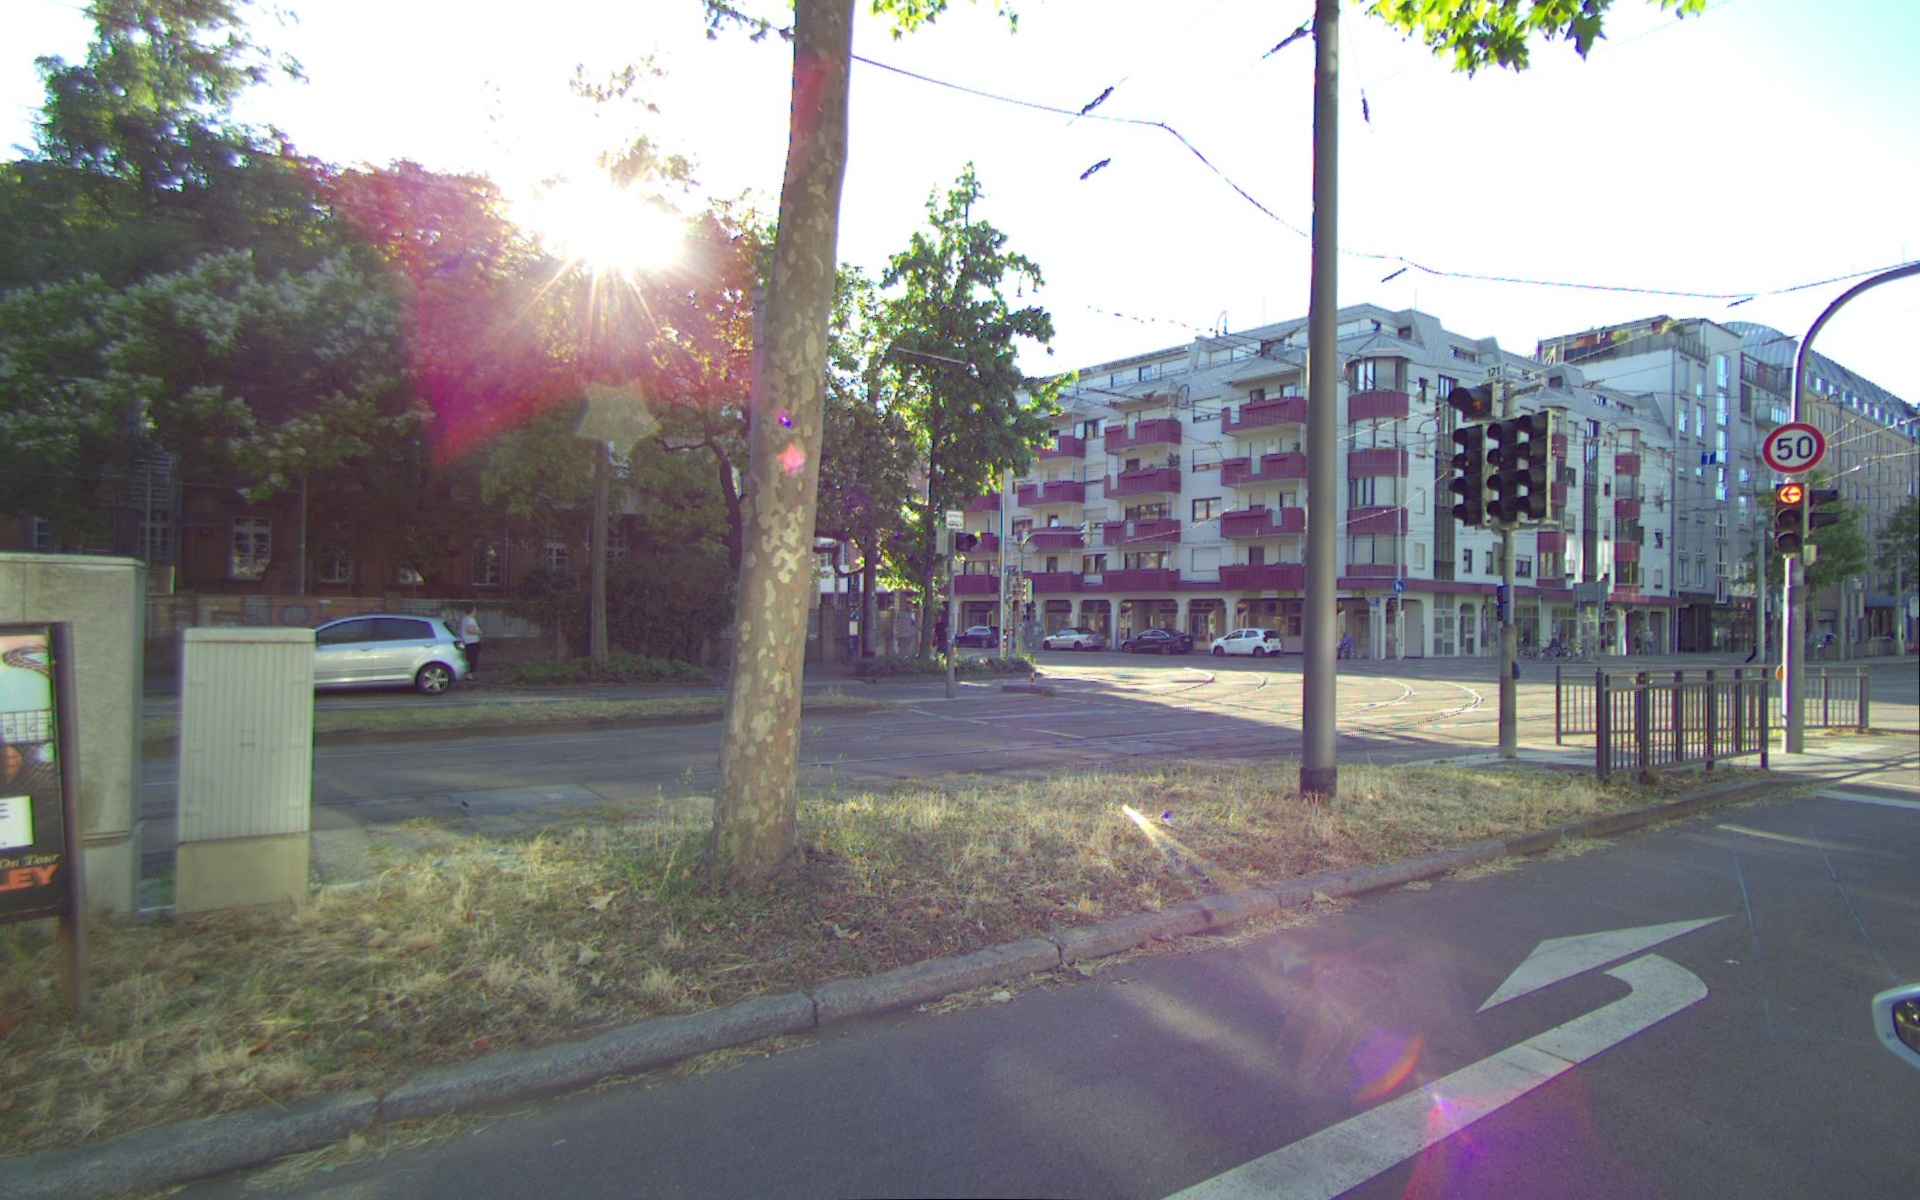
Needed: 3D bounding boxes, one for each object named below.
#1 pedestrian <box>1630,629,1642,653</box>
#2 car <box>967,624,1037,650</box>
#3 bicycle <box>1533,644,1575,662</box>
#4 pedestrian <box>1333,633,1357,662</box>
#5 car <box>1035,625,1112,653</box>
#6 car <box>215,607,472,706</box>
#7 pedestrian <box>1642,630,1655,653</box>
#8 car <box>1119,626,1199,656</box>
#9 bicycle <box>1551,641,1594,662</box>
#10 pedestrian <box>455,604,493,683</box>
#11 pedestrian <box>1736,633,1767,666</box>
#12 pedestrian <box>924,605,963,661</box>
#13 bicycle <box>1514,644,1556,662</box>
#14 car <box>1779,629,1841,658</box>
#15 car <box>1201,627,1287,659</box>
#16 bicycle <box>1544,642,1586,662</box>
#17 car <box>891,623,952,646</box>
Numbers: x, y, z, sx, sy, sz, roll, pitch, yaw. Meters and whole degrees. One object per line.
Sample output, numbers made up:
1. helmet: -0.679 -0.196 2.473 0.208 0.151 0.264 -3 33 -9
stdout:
1. pedestrian: 43.625 2.644 64.833 0.582 1.514 0.530 1 -1 -38
2. car: 2.725 2.427 66.237 1.986 1.576 4.527 2 -2 -42
3. bicycle: 30.413 2.687 51.451 0.547 0.865 1.833 1 -1 -32
4. pedestrian: 19.101 2.347 49.857 0.848 1.402 0.831 0 -1 45
5. car: 6.891 2.362 61.198 1.986 1.576 4.527 2 -2 -42
6. car: -11.976 1.046 19.612 4.062 1.641 2.065 2 1 -38
7. pedestrian: 44.088 2.655 64.303 0.582 1.514 0.530 1 -1 -38
8. car: 11.164 2.278 56.611 1.986 1.576 4.072 2 -2 -42
9. bicycle: 31.982 2.679 52.455 0.548 0.998 1.830 1 -1 -36
10. pedestrian: -10.763 0.954 22.264 0.626 1.687 0.563 1 1 -37
11. pedestrian: 39.246 2.449 49.804 0.685 1.564 1.042 1 -1 -27
12. pedestrian: -0.525 1.050 32.127 1.010 1.775 0.728 1 -1 -38
13. bicycle: 29.496 2.692 51.530 0.547 0.865 1.833 1 -1 -32
14. car: 51.952 2.612 61.410 4.219 1.695 1.942 1 -1 -36
15. car: 14.894 2.252 52.767 1.986 1.576 3.950 2 -2 -42
16. bicycle: 31.426 2.679 52.205 0.548 0.998 1.830 1 -1 -36
17. car: -2.806 2.461 72.209 1.986 1.576 4.527 2 -2 -42
